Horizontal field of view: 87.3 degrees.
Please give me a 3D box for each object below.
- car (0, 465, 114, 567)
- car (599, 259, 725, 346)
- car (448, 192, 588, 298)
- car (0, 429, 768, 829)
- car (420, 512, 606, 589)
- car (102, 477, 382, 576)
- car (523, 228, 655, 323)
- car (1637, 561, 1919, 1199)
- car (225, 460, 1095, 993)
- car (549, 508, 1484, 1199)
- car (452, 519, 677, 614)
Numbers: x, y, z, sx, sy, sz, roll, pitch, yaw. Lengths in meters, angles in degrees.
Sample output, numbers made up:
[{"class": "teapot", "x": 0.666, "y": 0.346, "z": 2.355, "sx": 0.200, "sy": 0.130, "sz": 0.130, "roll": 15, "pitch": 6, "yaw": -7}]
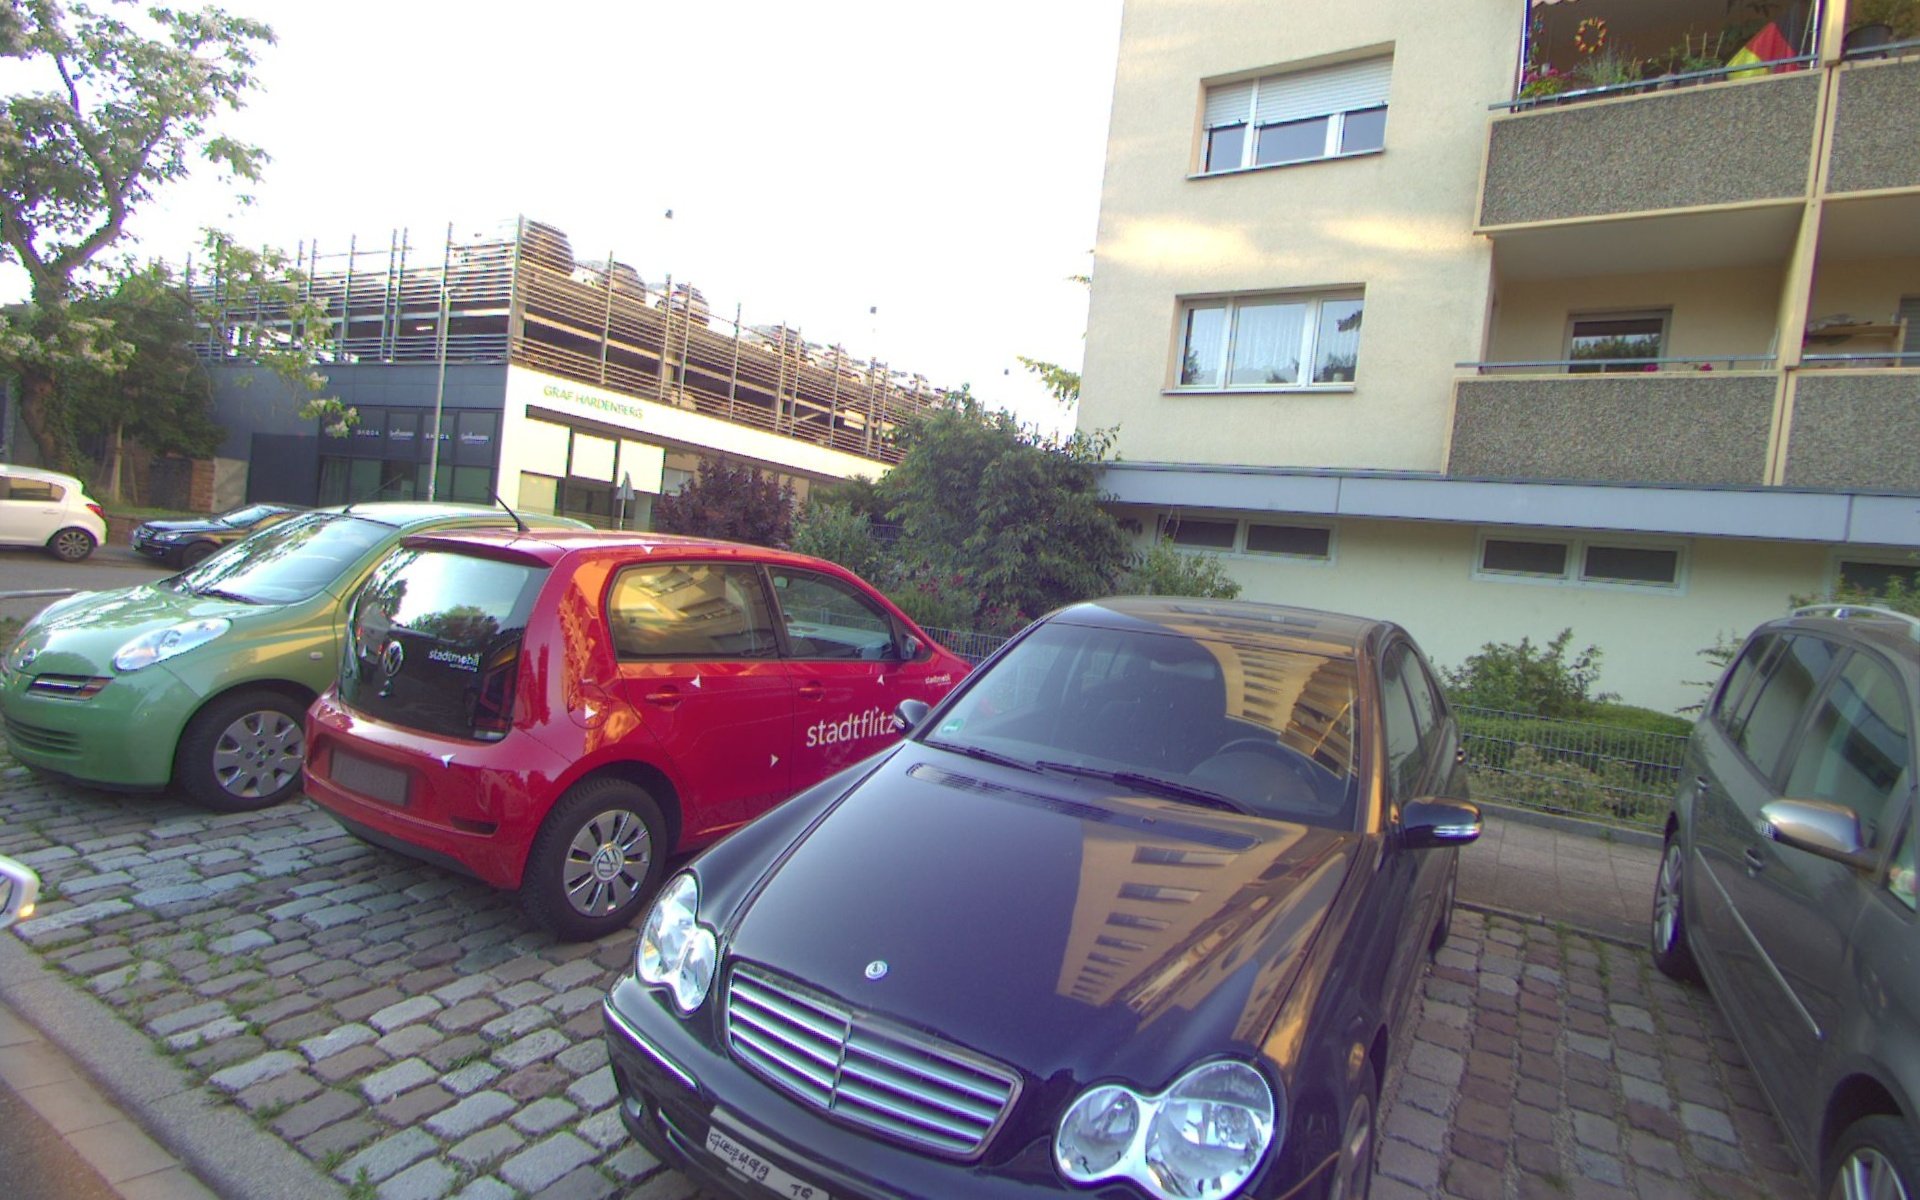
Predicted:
[{"class": "car", "x": -17.214, "y": -1.614, "z": 17.072, "sx": 1.924, "sy": 1.594, "sz": 3.861, "roll": 8, "pitch": 1, "yaw": 29}, {"class": "car", "x": -10.267, "y": -10.146, "z": 34.602, "sx": 3.938, "sy": 2.039, "sz": 1.994, "roll": 7, "pitch": 0, "yaw": 36}, {"class": "car", "x": -13.309, "y": -10.569, "z": 30.236, "sx": 3.938, "sy": 2.039, "sz": 1.994, "roll": 7, "pitch": 0, "yaw": 36}, {"class": "car", "x": -3.409, "y": 0.110, "z": 6.516, "sx": 1.814, "sy": 1.653, "sz": 4.407, "roll": 5, "pitch": 1, "yaw": 28}, {"class": "car", "x": -11.200, "y": -1.212, "z": 25.415, "sx": 1.794, "sy": 1.523, "sz": 3.835, "roll": 7, "pitch": 2, "yaw": 35}, {"class": "car", "x": -14.625, "y": -1.451, "z": 20.726, "sx": 1.794, "sy": 1.523, "sz": 4.290, "roll": 7, "pitch": 2, "yaw": 35}, {"class": "car", "x": -11.989, "y": -10.370, "z": 32.442, "sx": 3.938, "sy": 2.039, "sz": 1.994, "roll": 7, "pitch": 0, "yaw": 36}, {"class": "car", "x": 3.256, "y": 0.824, "z": 2.698, "sx": 1.814, "sy": 1.684, "sz": 4.405, "roll": 5, "pitch": 3, "yaw": 28}, {"class": "car", "x": -1.090, "y": 0.311, "z": 5.509, "sx": 1.815, "sy": 1.655, "sz": 4.398, "roll": 7, "pitch": 5, "yaw": 32}, {"class": "car", "x": 0.905, "y": 0.673, "z": 3.870, "sx": 1.814, "sy": 1.551, "sz": 4.407, "roll": 5, "pitch": 1, "yaw": 28}, {"class": "car", "x": -7.955, "y": -0.633, "z": 20.527, "sx": 1.794, "sy": 1.544, "sz": 3.835, "roll": 7, "pitch": 2, "yaw": 35}]
